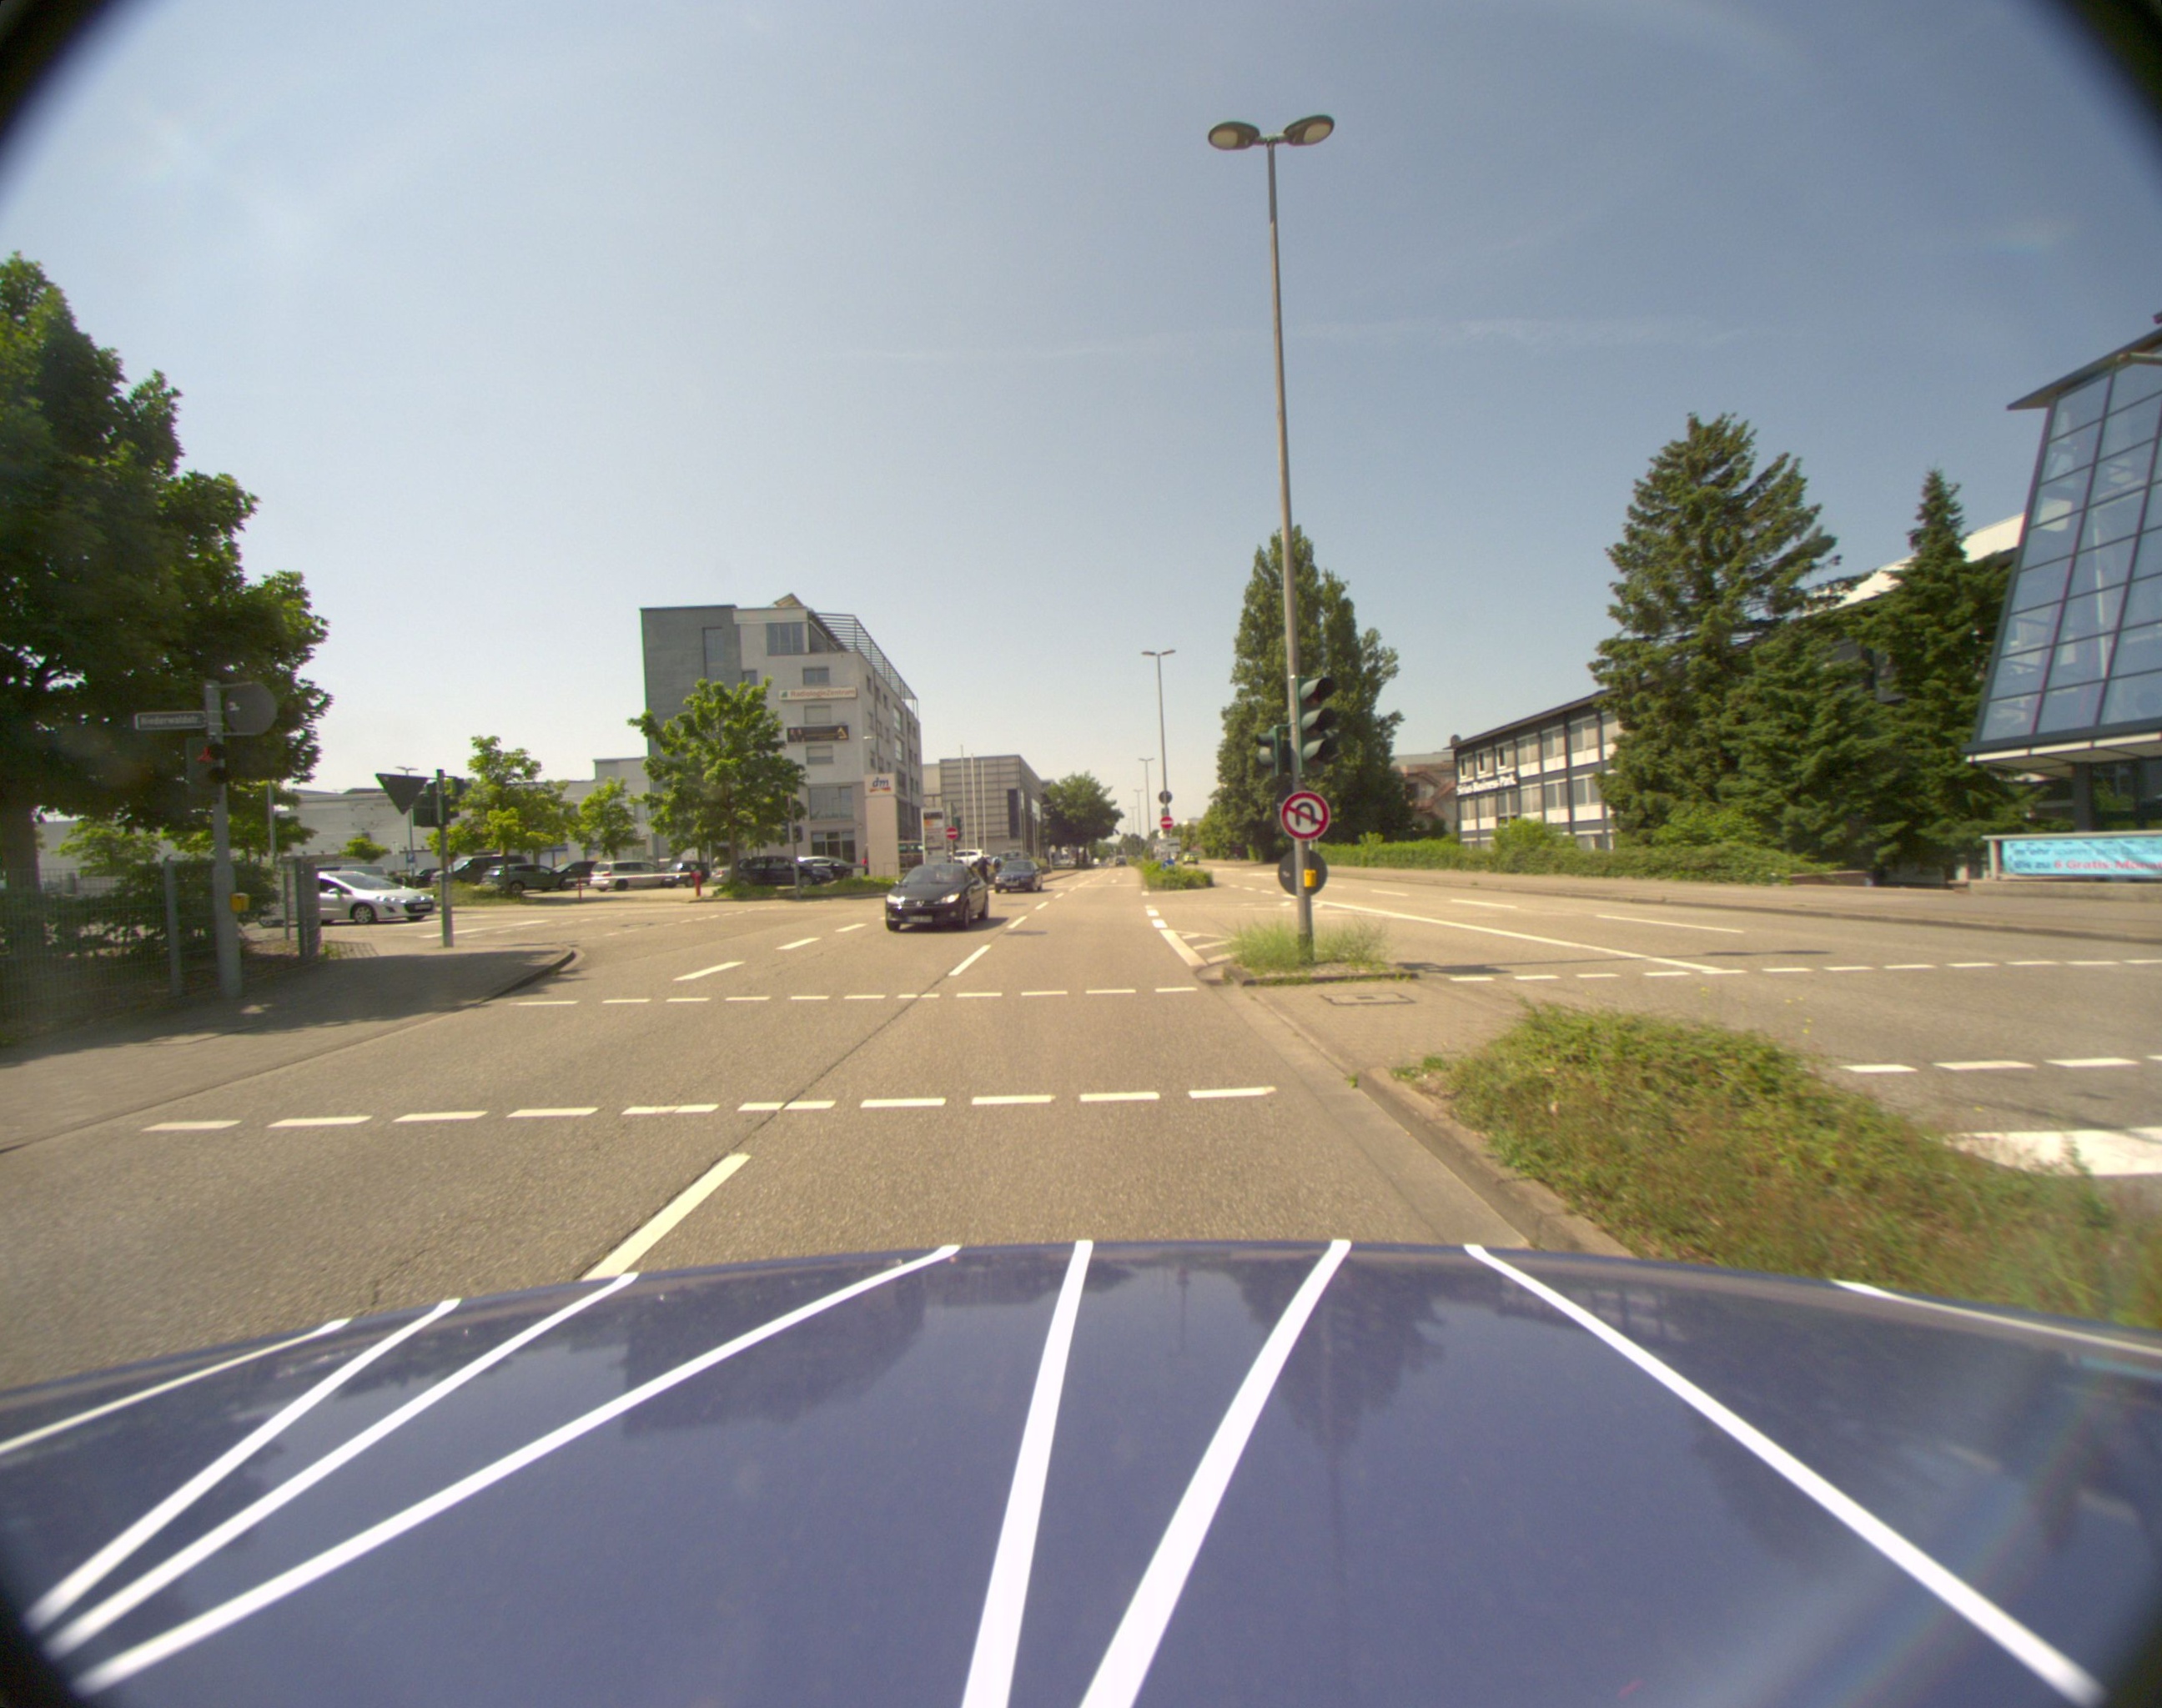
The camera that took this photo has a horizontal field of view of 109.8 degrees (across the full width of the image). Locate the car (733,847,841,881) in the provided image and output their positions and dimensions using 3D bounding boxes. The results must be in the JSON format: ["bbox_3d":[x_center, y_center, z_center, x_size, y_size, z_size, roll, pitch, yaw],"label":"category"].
[{"bbox_3d":[-12.873,0.420,33.494,3.998,1.331,1.863,-2,1,-2],"label":"car"}]

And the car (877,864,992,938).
[{"bbox_3d":[-3.073,0.951,16.606,1.641,1.349,3.500,-1,1,3],"label":"car"}]

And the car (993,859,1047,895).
[{"bbox_3d":[-2.590,0.953,33.099,1.711,1.316,3.956,-4,1,3],"label":"car"}]

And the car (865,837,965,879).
[{"bbox_3d":[-8.829,0.200,40.744,4.705,1.787,2.183,-5,0,3],"label":"car"}]

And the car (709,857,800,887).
[{"bbox_3d":[-16.988,0.896,39.645,4.007,1.390,1.811,-2,1,-38],"label":"car"}]

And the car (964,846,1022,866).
[{"bbox_3d":[-7.594,0.140,66.144,4.760,1.373,1.799,-4,1,-1],"label":"car"}]

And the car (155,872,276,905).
[{"bbox_3d":[-47.643,1.854,41.922,1.764,1.587,4.006,-1,1,22],"label":"car"}]

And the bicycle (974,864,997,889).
[{"bbox_3d":[-4.759,1.115,37.954,0.759,1.126,1.908,-4,1,3],"label":"bicycle"}]

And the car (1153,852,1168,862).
[{"bbox_3d":[11.879,0.481,114.088,1.764,1.410,4.091,-2,1,0],"label":"car"}]

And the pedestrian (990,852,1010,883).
[{"bbox_3d":[-4.513,0.762,42.397,0.830,1.616,1.005,-3,2,3],"label":"pedestrian"}]

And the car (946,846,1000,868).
[{"bbox_3d":[-8.553,0.238,60.054,4.000,1.477,1.757,-4,1,-10],"label":"car"}]

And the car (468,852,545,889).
[{"bbox_3d":[-36.432,1.037,48.258,1.669,2.180,3.436,-4,-1,30],"label":"car"}]

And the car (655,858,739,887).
[{"bbox_3d":[-21.620,1.021,42.950,1.996,1.477,4.005,-1,0,17],"label":"car"}]

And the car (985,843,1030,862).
[{"bbox_3d":[-7.114,-0.166,73.777,4.136,1.477,1.758,-4,1,2],"label":"car"}]

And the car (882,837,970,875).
[{"bbox_3d":[-8.749,0.088,43.286,4.421,1.690,2.000,-6,1,1],"label":"car"}]

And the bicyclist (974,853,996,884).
[{"bbox_3d":[-4.790,0.708,37.889,0.776,1.456,1.091,-4,1,3],"label":"bicyclist"}]

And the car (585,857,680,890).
[{"bbox_3d":[-24.724,1.065,42.039,1.669,1.590,4.199,-1,1,27],"label":"car"}]

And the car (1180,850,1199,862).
[{"bbox_3d":[14.553,0.260,102.146,1.899,1.551,4.286,-1,1,0],"label":"car"}]

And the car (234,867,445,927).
[{"bbox_3d":[-21.582,1.227,22.253,4.259,1.608,1.807,0,1,-3],"label":"car"}]

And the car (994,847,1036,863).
[{"bbox_3d":[-7.030,0.089,81.031,4.136,1.477,1.758,-2,1,2],"label":"car"}]

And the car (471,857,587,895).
[{"bbox_3d":[-30.511,1.169,42.189,1.996,1.702,4.753,-4,1,22],"label":"car"}]

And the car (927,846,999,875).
[{"bbox_3d":[-8.024,0.407,51.921,4.475,1.600,2.096,-4,1,-1],"label":"car"}]

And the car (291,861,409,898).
[{"bbox_3d":[-39.243,1.343,40.917,1.669,1.778,4.200,-4,-1,25],"label":"car"}]

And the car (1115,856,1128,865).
[{"bbox_3d":[6.561,0.992,122.349,1.867,1.390,4.001,-1,0,4],"label":"car"}]

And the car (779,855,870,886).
[{"bbox_3d":[-12.684,0.794,37.694,3.882,1.331,1.755,-2,1,-2],"label":"car"}]
